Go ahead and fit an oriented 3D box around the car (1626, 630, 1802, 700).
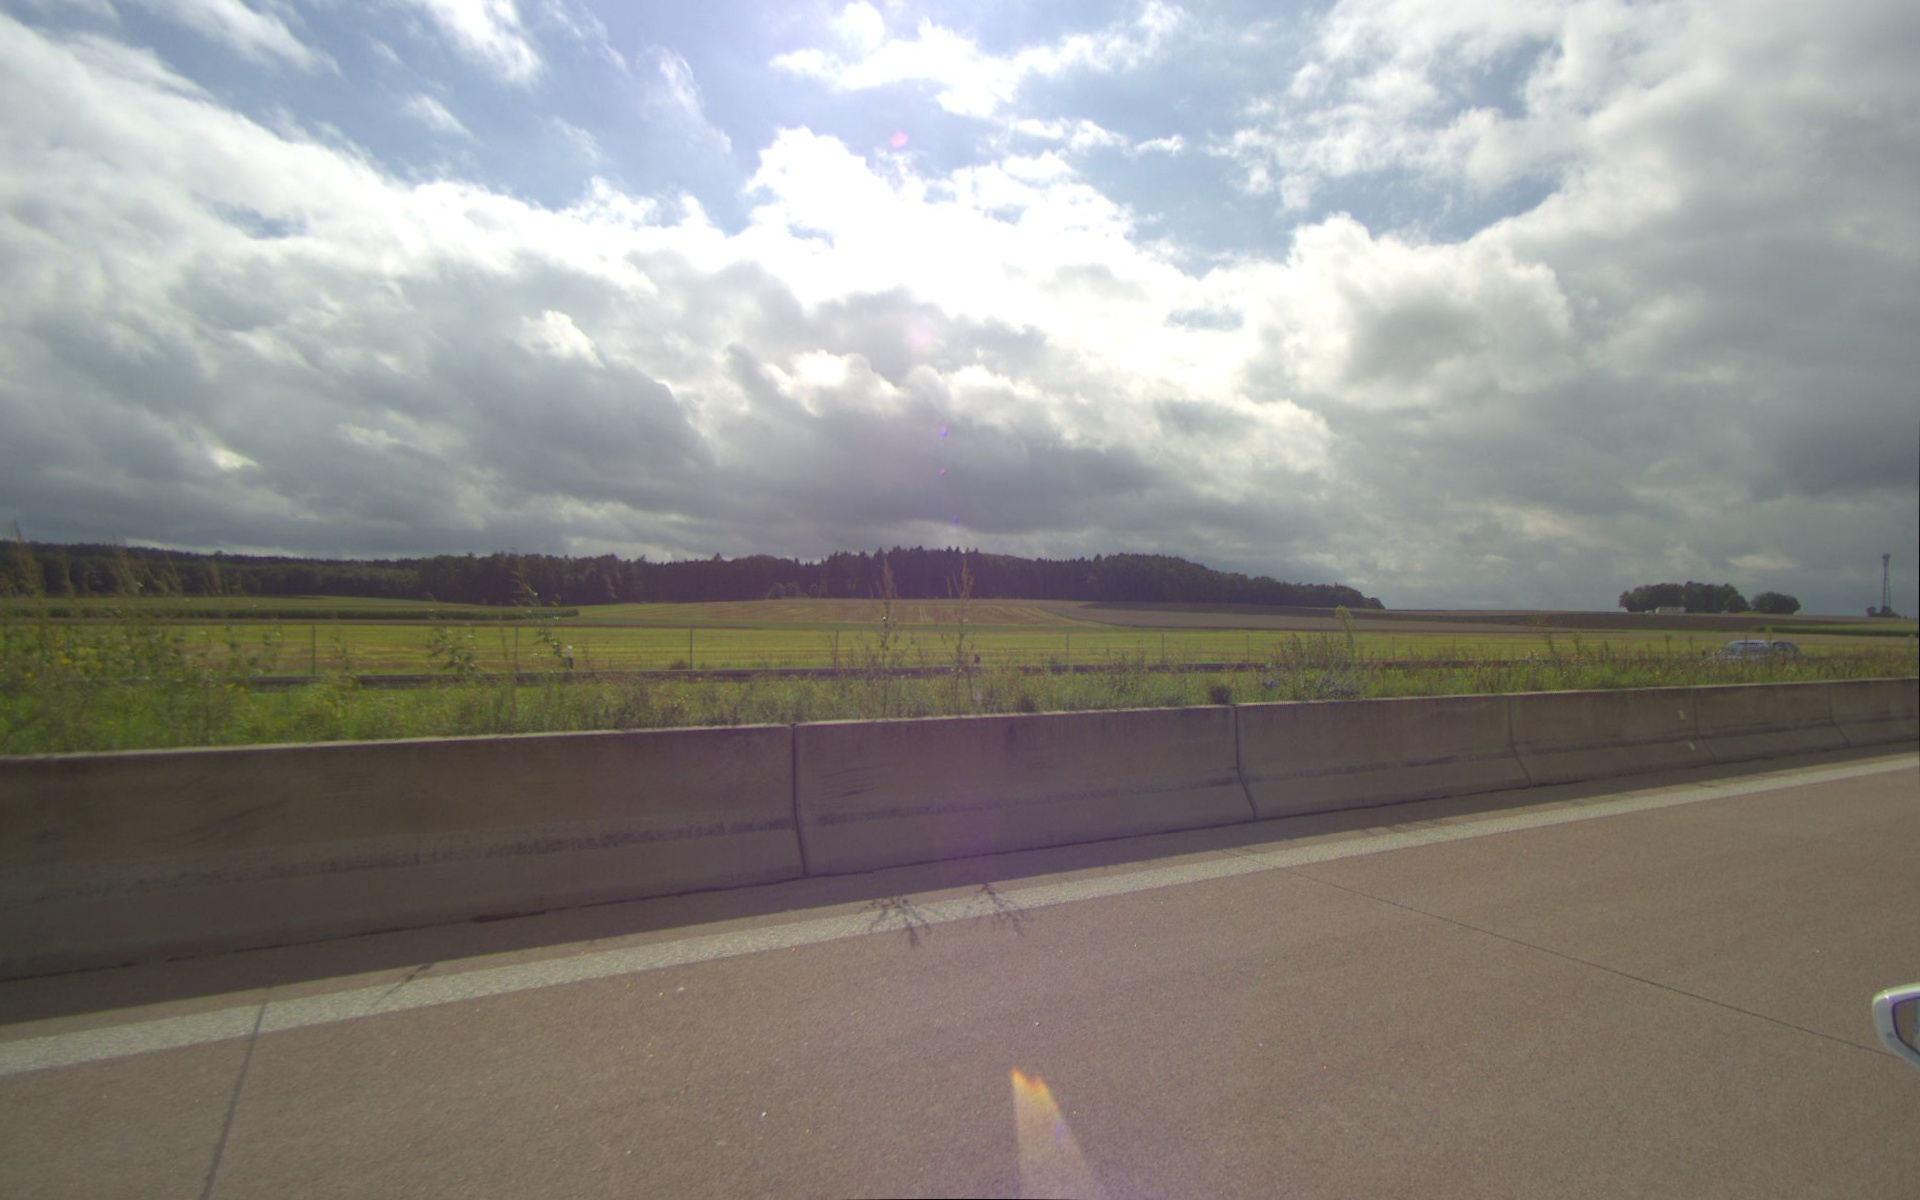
[{"bbox_3d":[22.082,1.817,29.349,6.032,1.870,1.984,1,-2,-31],"label":"car"}]
